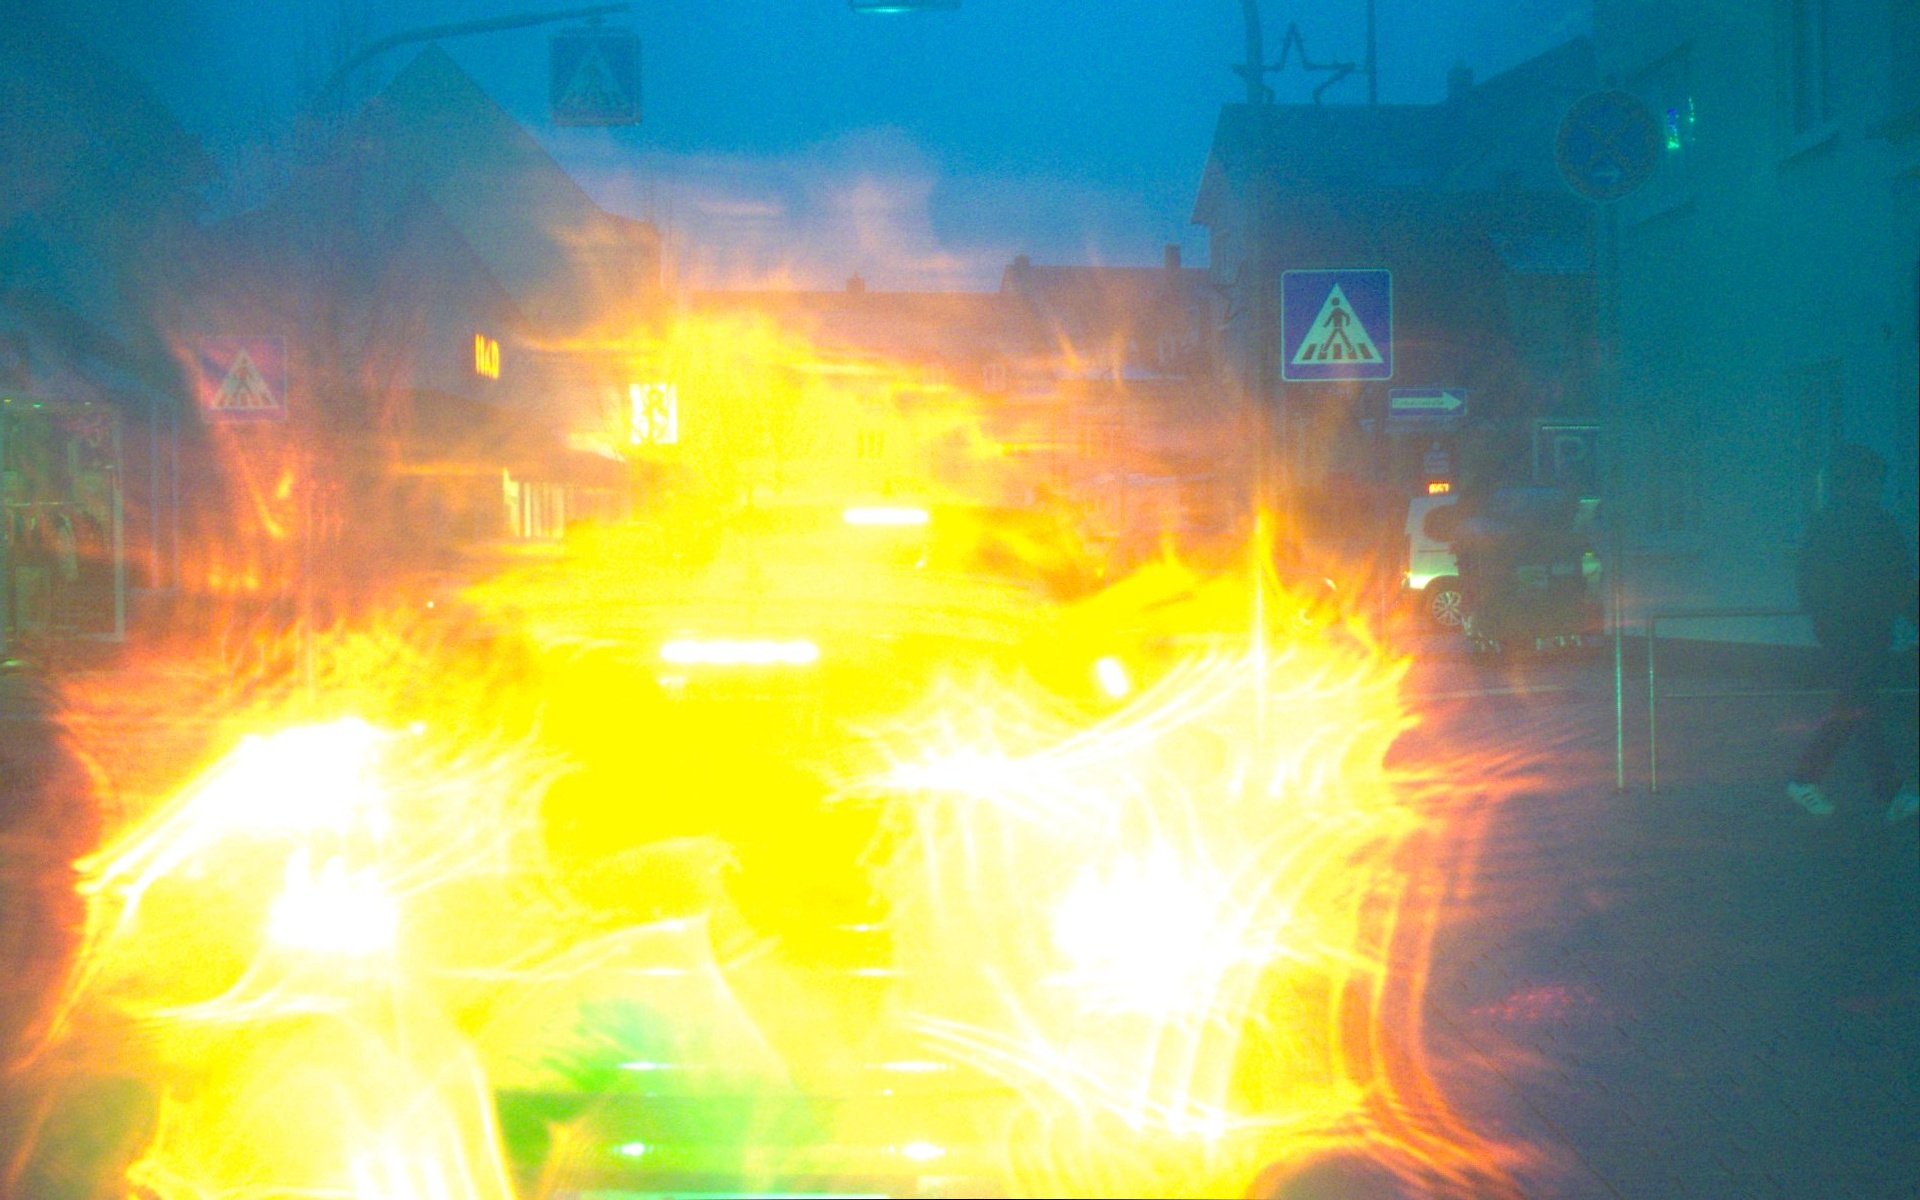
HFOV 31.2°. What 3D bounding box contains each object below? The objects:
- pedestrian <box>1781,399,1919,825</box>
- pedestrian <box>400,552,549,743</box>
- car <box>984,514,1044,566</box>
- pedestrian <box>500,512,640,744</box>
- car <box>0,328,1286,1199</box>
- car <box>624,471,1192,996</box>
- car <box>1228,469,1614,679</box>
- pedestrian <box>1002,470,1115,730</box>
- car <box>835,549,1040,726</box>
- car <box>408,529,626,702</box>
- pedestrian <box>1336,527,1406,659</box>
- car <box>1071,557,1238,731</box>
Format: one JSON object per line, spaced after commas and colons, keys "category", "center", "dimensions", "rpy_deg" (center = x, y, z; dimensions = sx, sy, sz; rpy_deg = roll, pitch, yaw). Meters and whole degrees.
{"category": "pedestrian", "center": [4.128, 0.050, 15.606], "dimensions": [0.663, 1.881, 0.824], "rpy_deg": [1, 0, 6]}
{"category": "pedestrian", "center": [-3.854, 0.369, 27.349], "dimensions": [0.890, 1.413, 0.776], "rpy_deg": [6, 0, 4]}
{"category": "car", "center": [1.545, -1.704, 97.136], "dimensions": [1.534, 1.241, 3.647], "rpy_deg": [-5, 2, 2]}
{"category": "pedestrian", "center": [-3.006, 0.204, 26.595], "dimensions": [0.973, 1.736, 0.961], "rpy_deg": [1, 2, -1]}
{"category": "car", "center": [-0.439, 0.455, 7.186], "dimensions": [1.994, 1.789, 4.648], "rpy_deg": [0, 2, 3]}
{"category": "car", "center": [-0.131, 0.405, 12.952], "dimensions": [1.798, 1.656, 4.000], "rpy_deg": [0, 1, 1]}
{"category": "car", "center": [4.561, -0.260, 34.417], "dimensions": [3.697, 2.007, 1.689], "rpy_deg": [1, 0, 3]}
{"category": "pedestrian", "center": [0.717, -0.009, 25.170], "dimensions": [0.703, 1.870, 0.617], "rpy_deg": [1, 2, -7]}
{"category": "car", "center": [-0.150, 0.309, 33.603], "dimensions": [1.827, 1.596, 4.581], "rpy_deg": [0, 1, 2]}
{"category": "car", "center": [-5.363, 0.142, 42.150], "dimensions": [1.993, 2.007, 4.361], "rpy_deg": [0, 1, 2]}
{"category": "pedestrian", "center": [6.363, -0.117, 53.251], "dimensions": [1.016, 2.007, 1.275], "rpy_deg": [0, 1, 5]}
{"category": "car", "center": [2.419, 0.508, 43.522], "dimensions": [1.641, 2.007, 4.001], "rpy_deg": [-2, 1, -3]}
